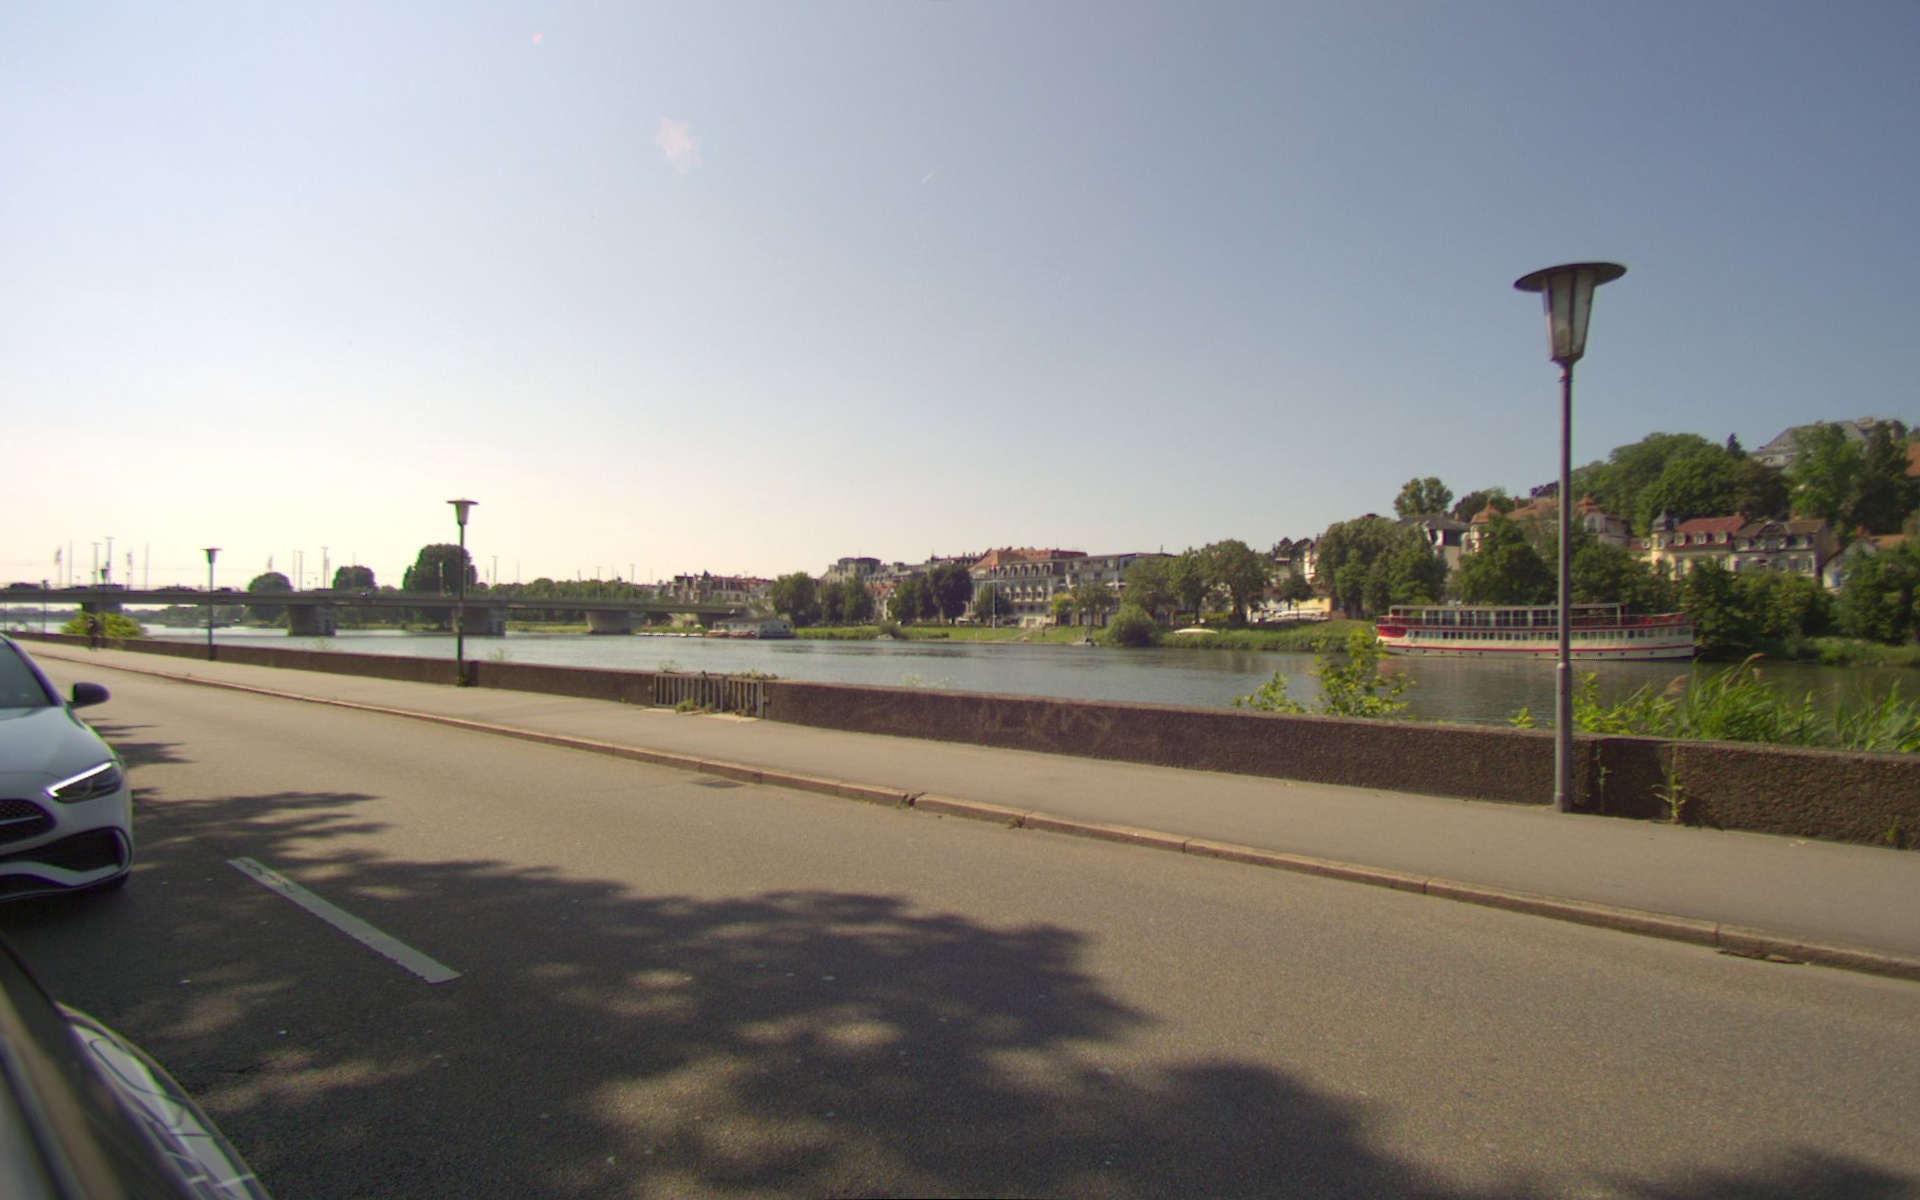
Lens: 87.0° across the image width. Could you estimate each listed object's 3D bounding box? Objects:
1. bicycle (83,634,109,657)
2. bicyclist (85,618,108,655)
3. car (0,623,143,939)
[{"bbox_3d":[-40.226,2.103,47.126,1.984,1.019,0.626,-1,-2,41],"label":"bicycle"},{"bbox_3d":[-40.130,1.694,47.022,0.870,1.686,0.631,-1,-3,41],"label":"bicyclist"},{"bbox_3d":[-6.315,0.868,5.829,4.551,1.430,1.806,-2,-1,42],"label":"car"}]
